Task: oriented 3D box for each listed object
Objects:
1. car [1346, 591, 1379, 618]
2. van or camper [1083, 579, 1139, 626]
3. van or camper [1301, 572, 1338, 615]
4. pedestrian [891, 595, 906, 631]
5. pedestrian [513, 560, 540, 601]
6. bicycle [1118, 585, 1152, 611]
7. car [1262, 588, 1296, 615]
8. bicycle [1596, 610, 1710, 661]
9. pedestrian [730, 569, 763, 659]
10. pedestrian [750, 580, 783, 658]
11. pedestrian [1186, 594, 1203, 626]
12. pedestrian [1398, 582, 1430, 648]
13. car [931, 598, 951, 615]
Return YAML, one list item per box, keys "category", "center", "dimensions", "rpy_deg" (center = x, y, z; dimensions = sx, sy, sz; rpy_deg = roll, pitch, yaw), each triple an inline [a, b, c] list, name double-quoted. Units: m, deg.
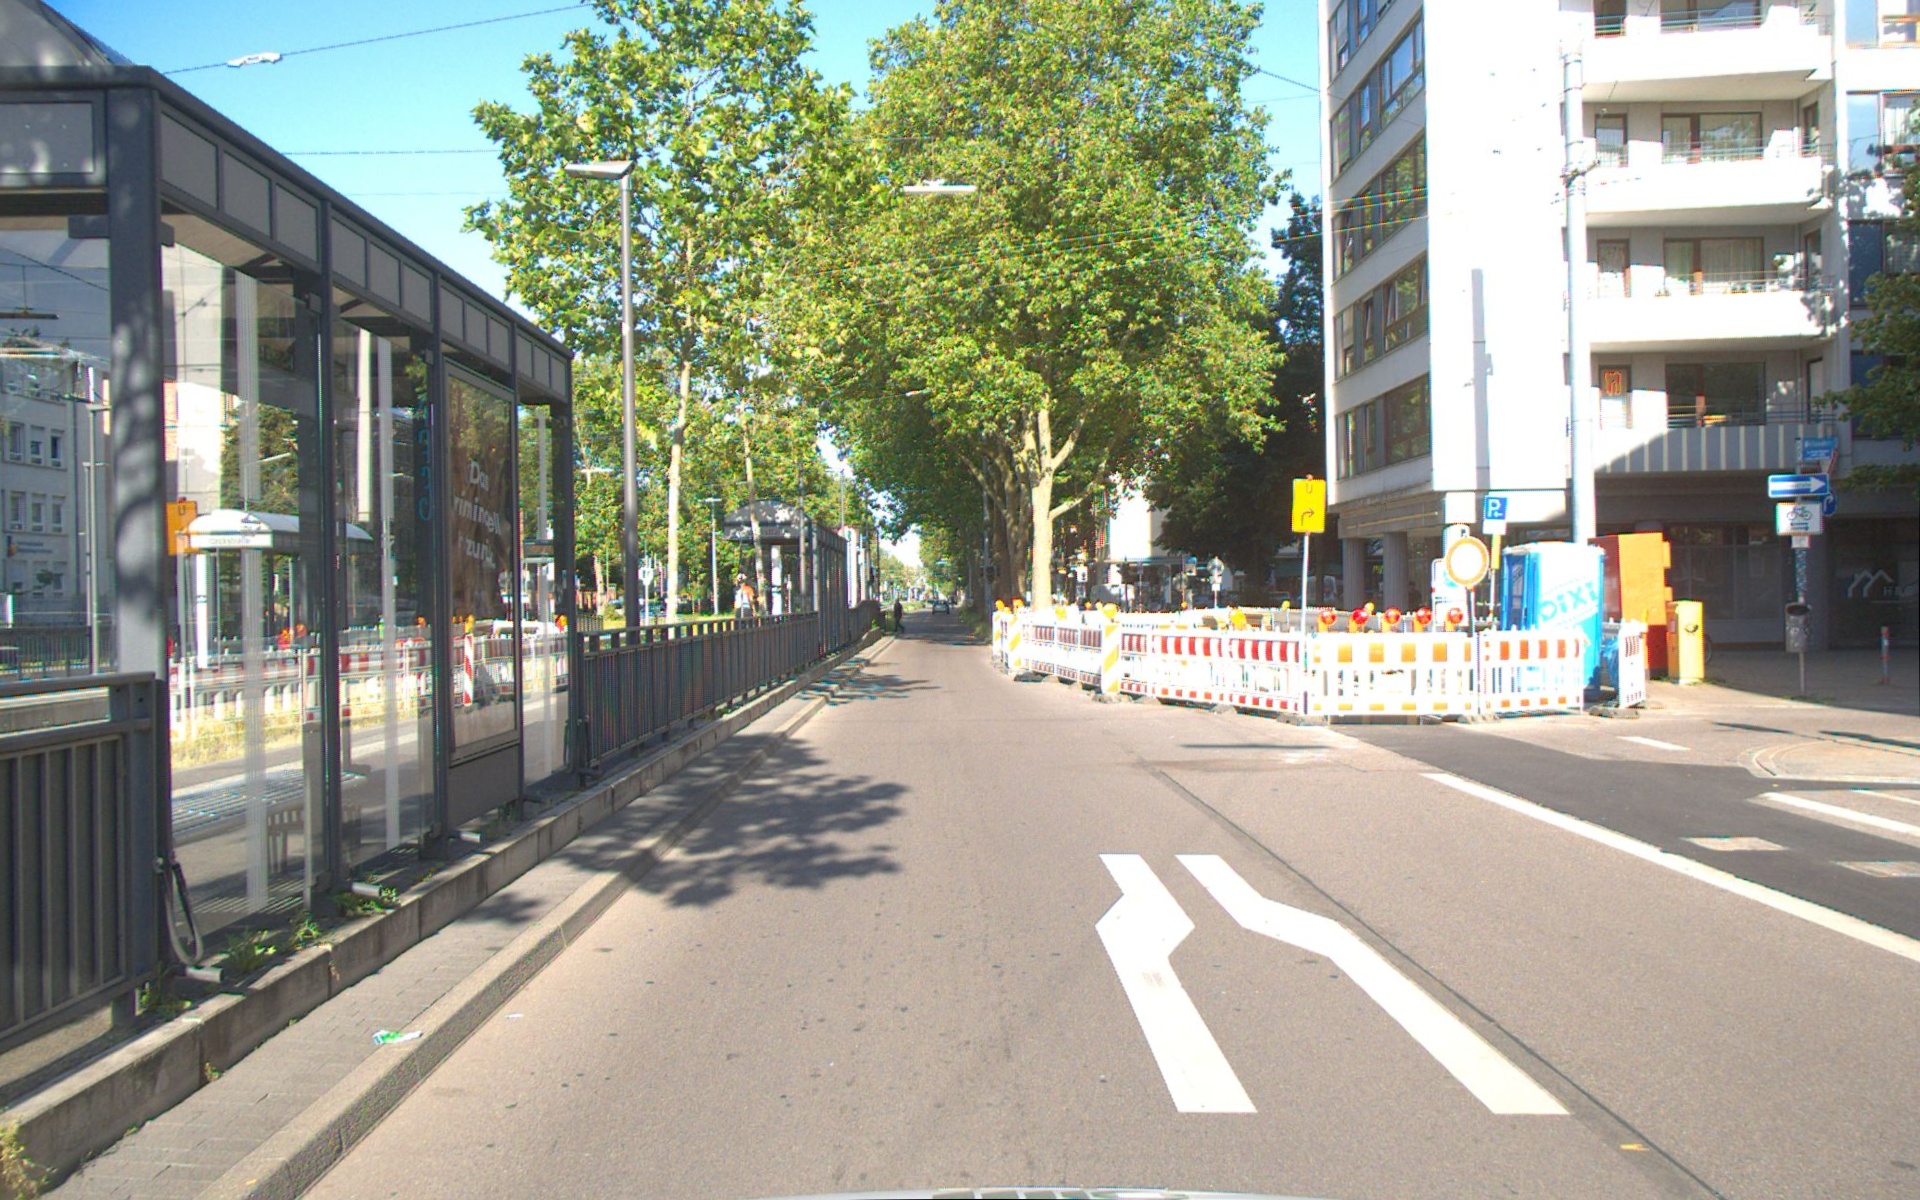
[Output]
- category: "car"
  center: [26.004, 0.262, 106.848]
  dimensions: [1.951, 1.698, 4.749]
  rpy_deg: [-1, 0, 14]
- category: "van or camper"
  center: [7.866, 0.126, 86.652]
  dimensions: [2.244, 2.326, 5.821]
  rpy_deg: [-1, 0, -1]
- category: "van or camper"
  center: [23.421, -0.399, 107.603]
  dimensions: [2.101, 2.682, 5.592]
  rpy_deg: [-1, 0, 15]
- category: "pedestrian"
  center: [-2.942, 0.618, 79.208]
  dimensions: [0.697, 1.710, 0.772]
  rpy_deg: [0, 0, -2]
- category: "pedestrian"
  center: [-19.008, -0.864, 72.480]
  dimensions: [0.933, 1.766, 0.730]
  rpy_deg: [-1, 0, 2]
- category: "bicycle"
  center: [8.838, -0.109, 83.579]
  dimensions: [1.572, 1.285, 0.962]
  rpy_deg: [0, 0, -5]
- category: "car"
  center: [20.827, 0.097, 107.903]
  dimensions: [1.951, 1.656, 4.393]
  rpy_deg: [-1, 0, 14]
- category: "bicycle"
  center: [13.628, 0.694, 32.591]
  dimensions: [1.985, 0.959, 1.018]
  rpy_deg: [0, 0, 19]
- category: "pedestrian"
  center: [-4.894, 0.320, 37.908]
  dimensions: [0.654, 2.049, 0.716]
  rpy_deg: [0, 0, 0]
- category: "pedestrian"
  center: [-4.597, 0.447, 39.286]
  dimensions: [0.668, 1.815, 0.754]
  rpy_deg: [0, 0, 0]
- category: "pedestrian"
  center: [12.437, 0.523, 87.761]
  dimensions: [0.717, 1.644, 1.035]
  rpy_deg: [-1, 0, -1]
- category: "pedestrian"
  center: [12.901, 0.420, 47.057]
  dimensions: [0.676, 1.847, 0.665]
  rpy_deg: [-1, 0, -1]
- category: "car"
  center: [-1.962, 0.689, 167.310]
  dimensions: [1.980, 1.691, 3.999]
  rpy_deg: [-1, 0, -1]
